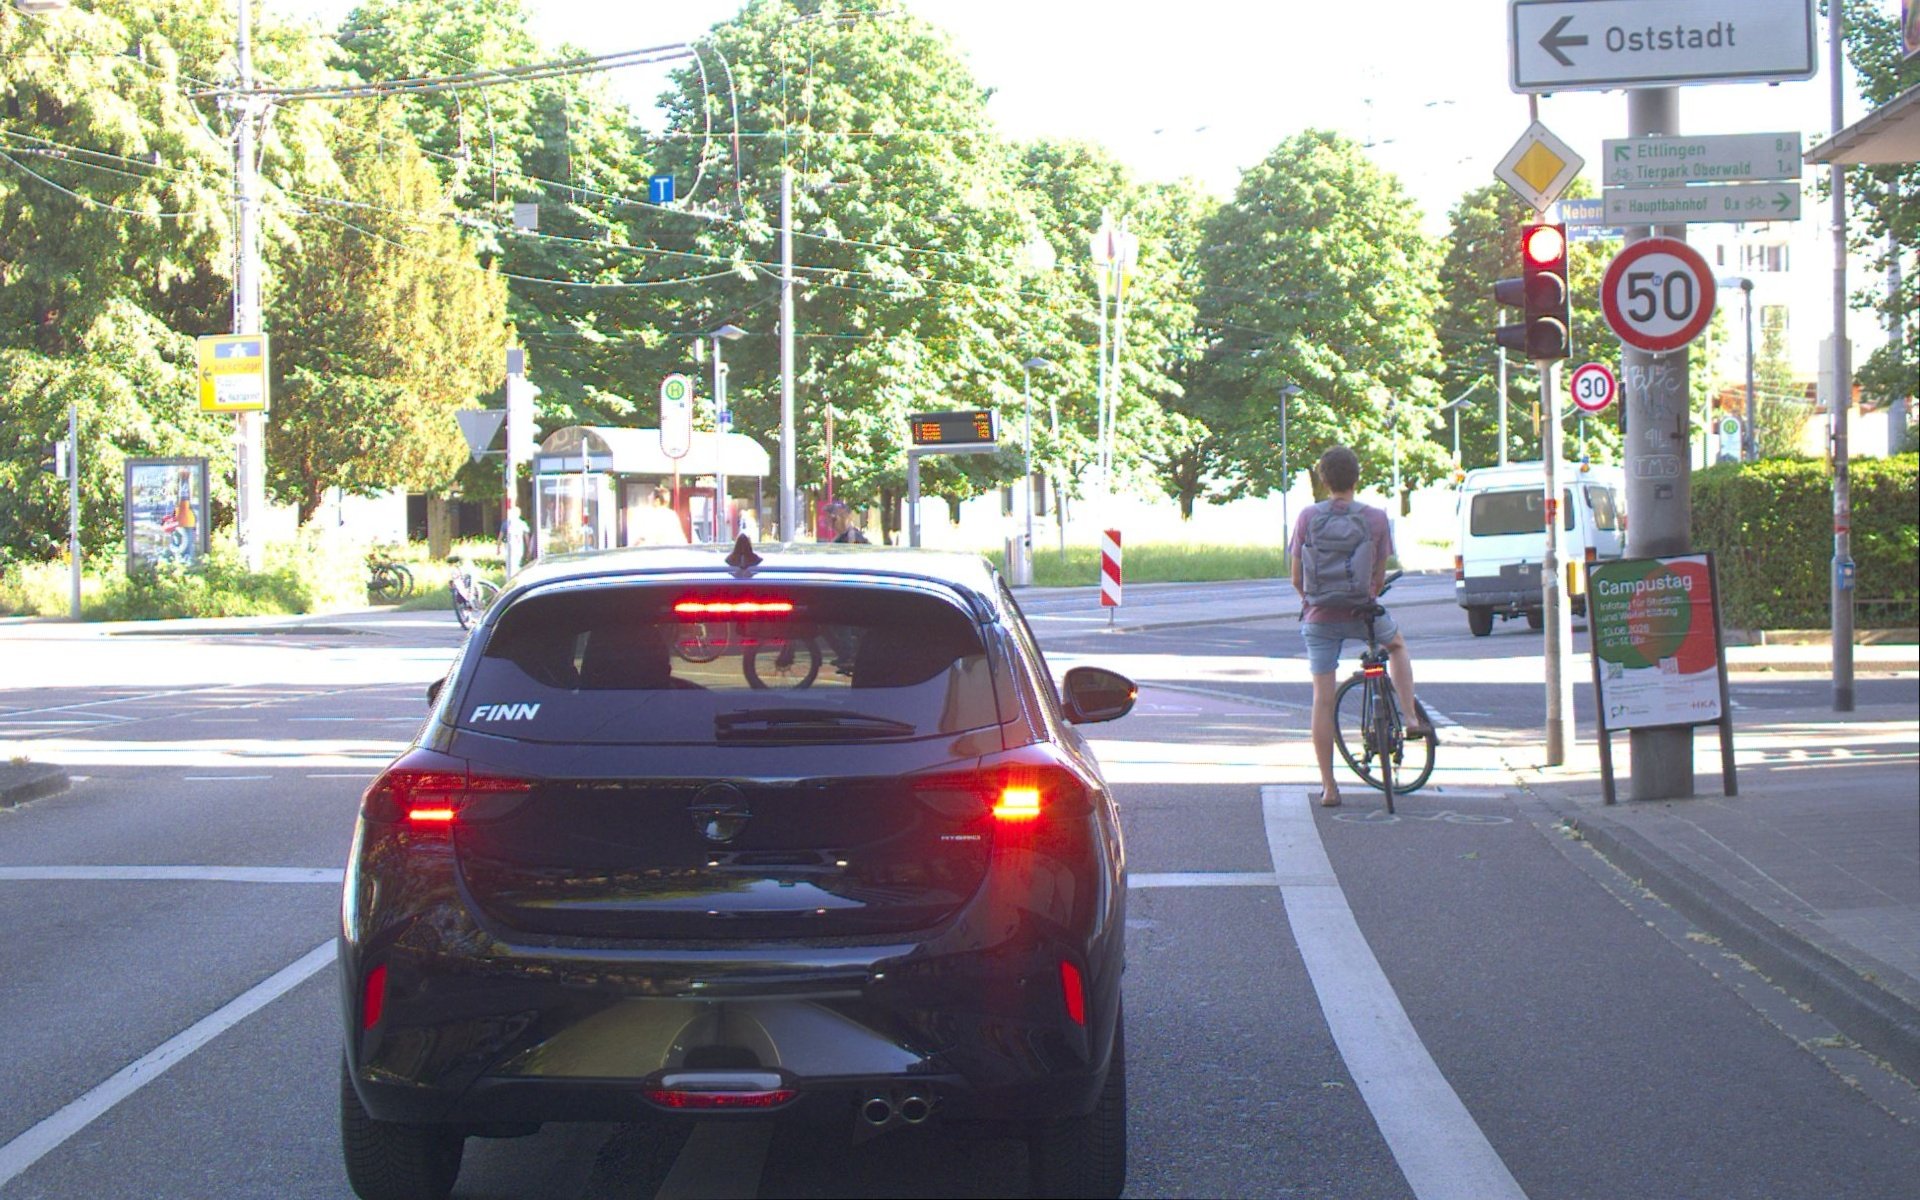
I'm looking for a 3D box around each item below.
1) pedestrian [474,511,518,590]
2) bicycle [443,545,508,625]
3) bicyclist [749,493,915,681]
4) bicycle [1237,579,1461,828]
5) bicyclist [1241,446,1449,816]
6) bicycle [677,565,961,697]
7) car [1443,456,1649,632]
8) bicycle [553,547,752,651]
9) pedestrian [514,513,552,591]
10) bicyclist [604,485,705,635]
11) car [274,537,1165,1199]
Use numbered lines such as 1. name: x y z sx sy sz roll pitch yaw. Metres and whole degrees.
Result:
1. pedestrian: -9.694 -1.026 71.860 0.751 1.624 0.597 1 0 7
2. bicycle: -6.541 -0.211 46.486 0.605 1.028 1.982 -1 1 -1
3. bicyclist: -1.068 -0.122 28.564 1.112 1.515 0.922 -1 1 -23
4. bicycle: 1.970 0.496 17.738 0.860 1.149 2.172 -1 1 -1
5. bicyclist: 1.970 0.147 17.714 0.941 1.845 0.864 -1 1 -1
6. bicycle: -1.170 0.241 28.540 2.190 1.029 0.835 -1 1 -23
7. car: 7.985 -0.779 46.466 2.065 2.241 4.883 0 1 18
8. bicycle: -3.289 -0.015 36.769 2.057 1.090 0.592 0 1 22
9. pedestrian: -8.941 -1.006 71.981 0.636 1.624 0.572 1 0 7
10. bicyclist: -3.262 -0.429 36.705 0.862 1.589 0.648 0 1 22
11. car: -0.484 0.564 8.783 1.727 1.424 4.187 0 1 0
